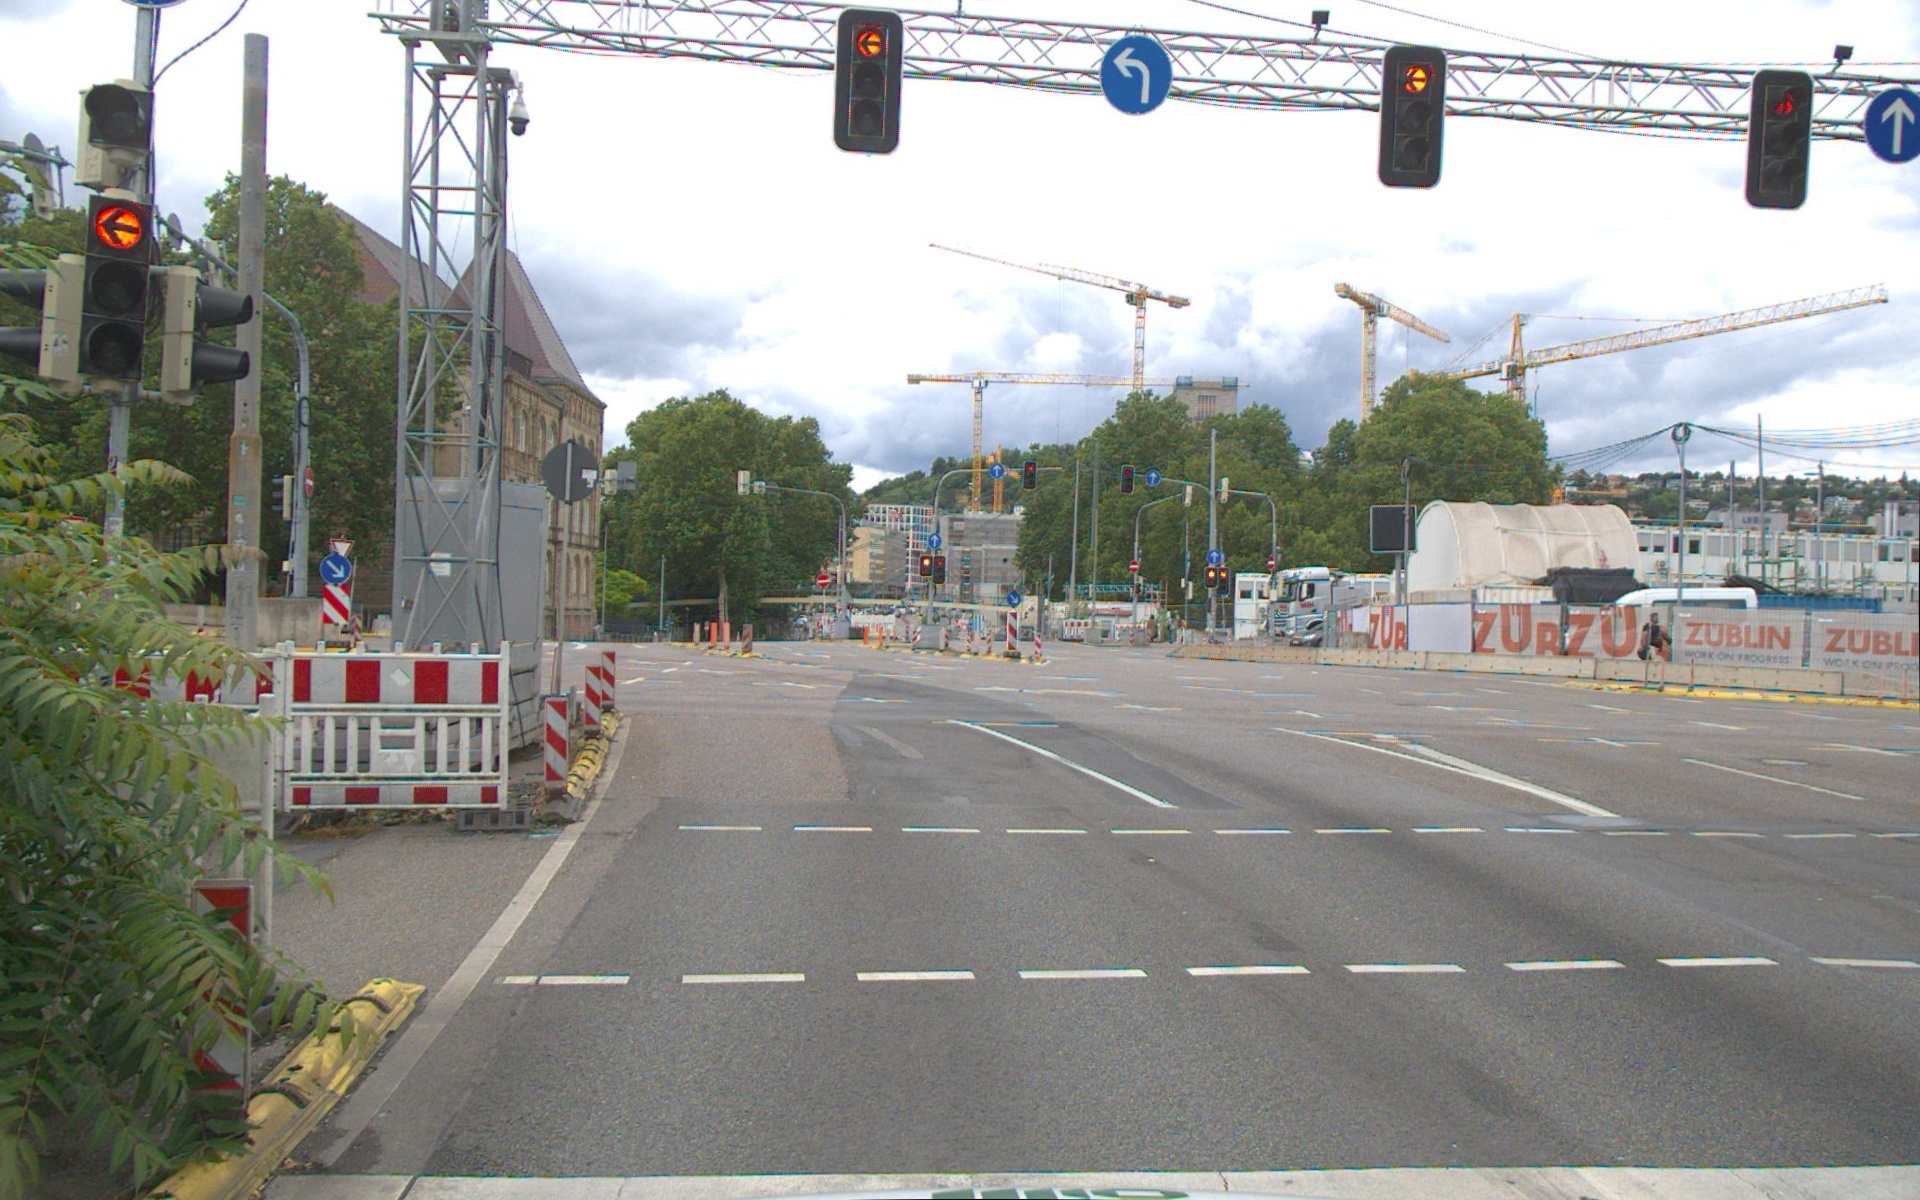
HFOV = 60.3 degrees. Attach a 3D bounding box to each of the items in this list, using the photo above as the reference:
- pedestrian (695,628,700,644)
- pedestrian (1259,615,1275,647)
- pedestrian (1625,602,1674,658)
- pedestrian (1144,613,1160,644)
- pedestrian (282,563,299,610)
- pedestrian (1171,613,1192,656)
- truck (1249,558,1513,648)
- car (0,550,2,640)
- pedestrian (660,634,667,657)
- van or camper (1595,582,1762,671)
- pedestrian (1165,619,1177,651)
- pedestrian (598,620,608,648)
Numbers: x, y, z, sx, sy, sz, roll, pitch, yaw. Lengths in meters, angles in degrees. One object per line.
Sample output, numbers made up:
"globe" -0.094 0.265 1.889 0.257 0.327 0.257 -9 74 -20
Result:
"pedestrian" -28.078 3.837 176.978 0.525 1.620 0.515 1 0 -5
"pedestrian" 16.757 1.682 90.281 0.609 1.718 0.710 2 0 28
"pedestrian" 17.936 0.774 43.009 0.791 1.402 0.892 2 0 -39
"pedestrian" 10.541 1.561 90.844 0.714 1.718 0.677 2 0 -1
"pedestrian" -29.466 -0.607 72.816 0.523 2.049 0.421 2 0 -44
"pedestrian" 9.069 1.407 67.632 0.714 1.718 0.677 2 0 -1
"truck" 21.001 0.166 82.323 12.837 4.111 3.927 1 0 -21
"car" -19.705 -0.121 29.353 4.239 1.705 1.993 2 0 -14
"pedestrian" -27.646 4.235 154.017 0.513 2.049 0.566 1 0 -1
"van or camper" 20.731 0.743 47.914 4.123 2.398 2.002 1 0 14
"pedestrian" 11.575 1.942 90.908 0.555 1.718 0.471 2 0 -1
"pedestrian" -26.101 2.465 120.924 0.513 2.049 0.566 1 0 -1
